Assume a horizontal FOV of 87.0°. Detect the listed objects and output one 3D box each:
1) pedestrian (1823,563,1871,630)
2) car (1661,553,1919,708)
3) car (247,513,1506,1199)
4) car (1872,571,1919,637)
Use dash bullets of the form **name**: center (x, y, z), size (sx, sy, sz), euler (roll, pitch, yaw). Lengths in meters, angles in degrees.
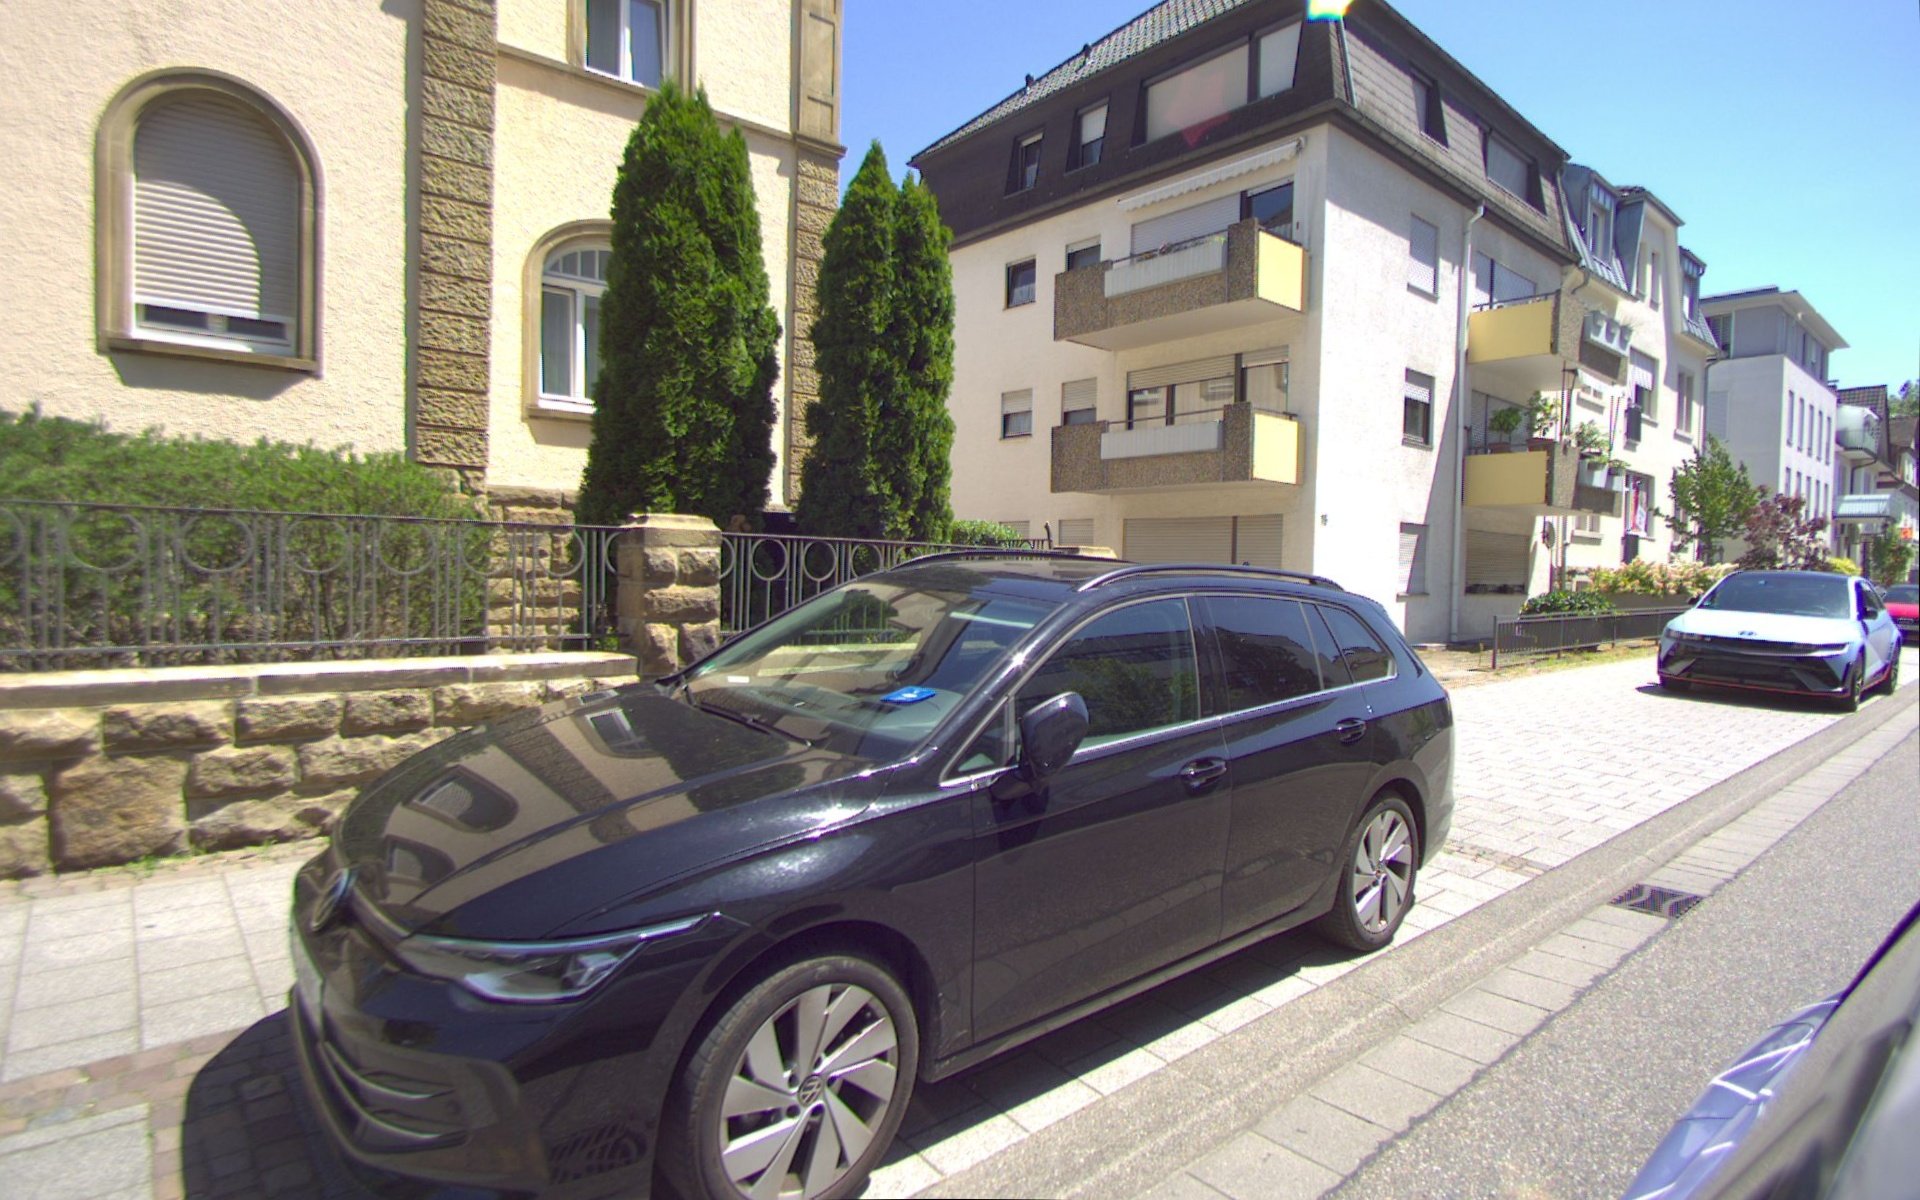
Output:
- **pedestrian**: center (23.183, -0.107, 26.447), size (0.694, 1.689, 0.742), euler (-1, 5, -42)
- **car**: center (10.933, 0.275, 13.172), size (4.349, 1.639, 1.848), euler (-1, 4, -40)
- **car**: center (0.172, 0.537, 3.614), size (4.321, 1.463, 1.636), euler (-1, 5, -41)
- **car**: center (23.479, 0.109, 24.390), size (3.784, 1.458, 1.608), euler (-1, 5, -40)
